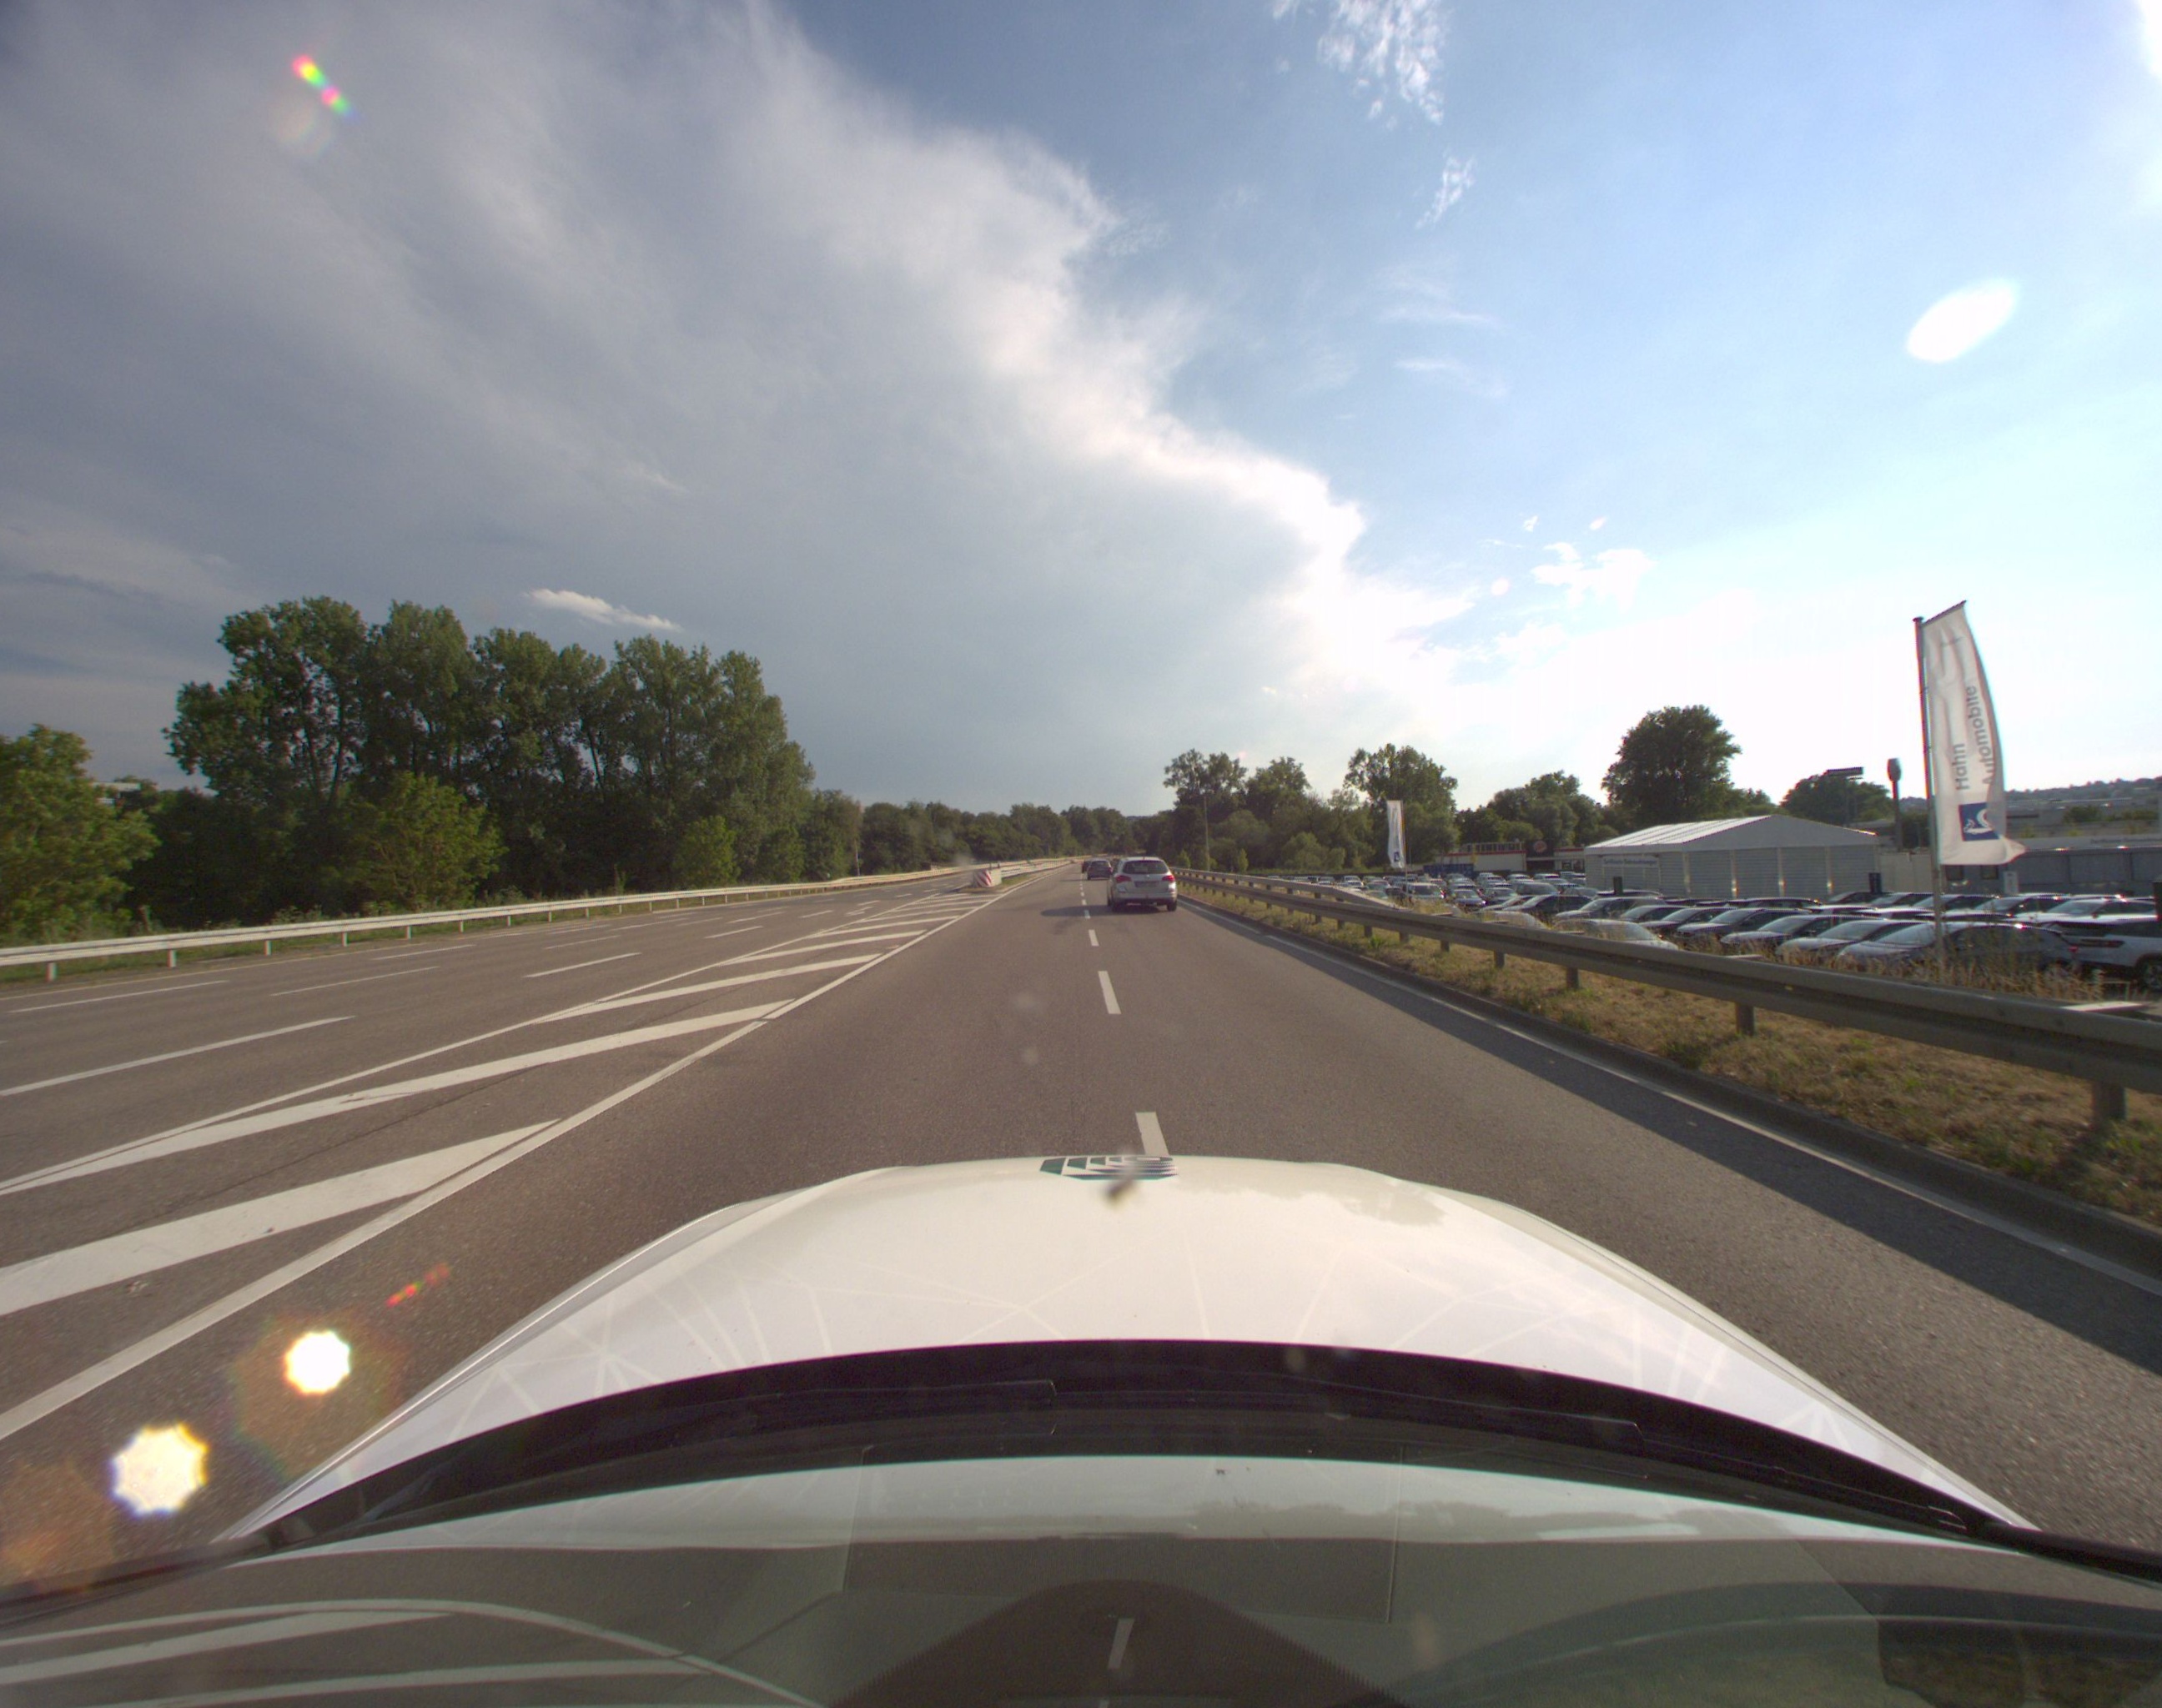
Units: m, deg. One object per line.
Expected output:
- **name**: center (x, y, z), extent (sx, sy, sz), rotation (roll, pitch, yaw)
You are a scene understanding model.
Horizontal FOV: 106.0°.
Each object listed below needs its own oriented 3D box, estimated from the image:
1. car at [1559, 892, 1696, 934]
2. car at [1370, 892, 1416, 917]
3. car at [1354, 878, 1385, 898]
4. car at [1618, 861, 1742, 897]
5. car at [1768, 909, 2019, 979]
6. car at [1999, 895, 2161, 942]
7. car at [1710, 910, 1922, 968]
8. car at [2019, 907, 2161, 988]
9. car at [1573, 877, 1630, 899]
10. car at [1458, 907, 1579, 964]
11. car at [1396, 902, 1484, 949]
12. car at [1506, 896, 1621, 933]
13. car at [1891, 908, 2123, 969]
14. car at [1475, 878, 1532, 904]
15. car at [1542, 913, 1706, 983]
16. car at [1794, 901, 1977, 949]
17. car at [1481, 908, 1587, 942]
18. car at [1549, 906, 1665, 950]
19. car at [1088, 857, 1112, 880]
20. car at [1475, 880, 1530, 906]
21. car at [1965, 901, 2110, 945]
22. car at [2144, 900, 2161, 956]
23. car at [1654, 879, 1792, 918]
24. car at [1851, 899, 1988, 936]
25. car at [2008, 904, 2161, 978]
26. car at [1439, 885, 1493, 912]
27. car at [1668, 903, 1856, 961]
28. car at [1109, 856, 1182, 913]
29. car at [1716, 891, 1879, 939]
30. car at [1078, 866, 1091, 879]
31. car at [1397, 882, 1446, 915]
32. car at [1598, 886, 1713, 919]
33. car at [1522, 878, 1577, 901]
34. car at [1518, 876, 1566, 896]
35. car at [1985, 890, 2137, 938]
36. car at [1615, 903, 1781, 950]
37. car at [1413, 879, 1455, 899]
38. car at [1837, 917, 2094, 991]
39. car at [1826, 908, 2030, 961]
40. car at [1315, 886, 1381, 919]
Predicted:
- **car**: center (22.780, 2.459, 34.121), extent (4.394, 1.667, 1.845), rotation (-1, -1, 7)
- **car**: center (22.226, 3.561, 58.127), extent (1.870, 1.636, 4.737), rotation (-1, -1, 6)
- **car**: center (25.662, 2.989, 72.488), extent (1.765, 1.684, 4.007), rotation (-1, -1, 7)
- **car**: center (28.538, 1.186, 38.931), extent (4.401, 1.636, 1.890), rotation (-1, -1, 7)
- **car**: center (21.070, 2.296, 21.307), extent (4.401, 1.636, 1.890), rotation (-1, -1, 7)
- **car**: center (36.069, 2.263, 28.986), extent (4.394, 1.543, 1.804), rotation (-1, -1, 7)
- **car**: center (21.517, 2.463, 24.020), extent (4.394, 1.543, 1.804), rotation (-1, -1, 7)
- **car**: center (25.219, 2.134, 18.915), extent (4.394, 1.714, 1.804), rotation (-1, -1, 7)
- **car**: center (40.204, 2.592, 63.044), extent (1.870, 1.636, 4.580), rotation (-1, -1, 6)
- **car**: center (14.962, 2.739, 28.143), extent (1.733, 1.626, 4.307), rotation (0, -1, -2)
- **car**: center (14.557, 2.874, 33.297), extent (1.731, 1.626, 4.310), rotation (0, -1, 0)
- **car**: center (23.113, 2.876, 39.159), extent (4.394, 1.607, 1.805), rotation (-1, 0, 7)
- **car**: center (27.421, 2.477, 24.273), extent (4.401, 1.636, 1.890), rotation (-1, -1, 7)
- **car**: center (26.397, 2.278, 51.090), extent (1.868, 1.522, 4.743), rotation (-1, -1, 10)
- **car**: center (15.148, 2.575, 23.068), extent (1.788, 1.543, 4.434), rotation (0, -1, 2)
- **car**: center (28.205, 2.463, 28.693), extent (4.394, 1.543, 1.804), rotation (-1, -1, 7)
- **car**: center (23.267, 3.650, 41.990), extent (4.401, 1.636, 1.890), rotation (-1, -1, 7)
- **car**: center (20.537, 2.877, 31.916), extent (3.456, 1.574, 1.632), rotation (-1, -1, 8)
- **car**: center (1.311, 1.004, 56.661), extent (1.661, 1.574, 4.000), rotation (0, -1, 1)
- **car**: center (29.567, 2.713, 57.278), extent (1.870, 1.636, 4.737), rotation (-1, -1, 6)
- **car**: center (37.296, 2.678, 31.822), extent (3.456, 1.574, 1.632), rotation (-1, -1, 8)
- **car**: center (40.777, 2.648, 28.470), extent (3.957, 2.014, 2.008), rotation (-1, -1, 16)
- **car**: center (28.110, 1.956, 35.803), extent (4.401, 1.636, 1.890), rotation (-1, -1, 7)
- **car**: center (37.489, 2.811, 36.515), extent (3.961, 1.565, 1.787), rotation (-1, -1, 11)
- **car**: center (27.031, 2.181, 20.745), extent (4.394, 1.714, 1.804), rotation (-1, -1, 7)
- **car**: center (24.048, 2.743, 51.030), extent (1.868, 1.522, 4.743), rotation (-1, -1, 10)
- **car**: center (21.963, 2.491, 26.433), extent (4.394, 1.714, 1.804), rotation (-1, -1, 7)
- **car**: center (1.758, 0.837, 23.373), extent (1.803, 1.486, 3.999), rotation (0, -1, 0)
- **car**: center (27.485, 2.378, 31.383), extent (4.394, 1.704, 1.804), rotation (-2, -5, 7)
- **car**: center (0.408, 2.085, 91.473), extent (1.487, 1.476, 3.359), rotation (0, -1, 1)
- **car**: center (21.583, 2.770, 51.824), extent (1.868, 1.931, 4.743), rotation (-1, -1, 10)
- **car**: center (29.238, 2.468, 41.573), extent (4.401, 1.636, 1.890), rotation (-1, -1, 7)
- **car**: center (35.617, 2.656, 62.029), extent (1.870, 1.636, 4.736), rotation (-1, -1, 6)
- **car**: center (40.019, 2.775, 70.841), extent (1.870, 1.636, 4.736), rotation (-1, -1, 5)
- **car**: center (42.353, 2.554, 35.293), extent (3.961, 1.956, 1.787), rotation (-1, -1, 11)
- **car**: center (21.908, 2.569, 29.056), extent (4.394, 1.543, 1.804), rotation (-1, -1, 7)
- **car**: center (30.856, 2.997, 71.344), extent (1.871, 1.636, 4.734), rotation (-1, -1, 4)
- **car**: center (20.651, 2.317, 19.160), extent (3.955, 1.543, 1.789), rotation (0, -1, 4)
- **car**: center (27.262, 2.569, 26.351), extent (4.394, 1.543, 1.804), rotation (-1, -1, 7)
- **car**: center (14.869, 2.665, 45.624), extent (1.876, 1.626, 4.722), rotation (0, -1, -4)
